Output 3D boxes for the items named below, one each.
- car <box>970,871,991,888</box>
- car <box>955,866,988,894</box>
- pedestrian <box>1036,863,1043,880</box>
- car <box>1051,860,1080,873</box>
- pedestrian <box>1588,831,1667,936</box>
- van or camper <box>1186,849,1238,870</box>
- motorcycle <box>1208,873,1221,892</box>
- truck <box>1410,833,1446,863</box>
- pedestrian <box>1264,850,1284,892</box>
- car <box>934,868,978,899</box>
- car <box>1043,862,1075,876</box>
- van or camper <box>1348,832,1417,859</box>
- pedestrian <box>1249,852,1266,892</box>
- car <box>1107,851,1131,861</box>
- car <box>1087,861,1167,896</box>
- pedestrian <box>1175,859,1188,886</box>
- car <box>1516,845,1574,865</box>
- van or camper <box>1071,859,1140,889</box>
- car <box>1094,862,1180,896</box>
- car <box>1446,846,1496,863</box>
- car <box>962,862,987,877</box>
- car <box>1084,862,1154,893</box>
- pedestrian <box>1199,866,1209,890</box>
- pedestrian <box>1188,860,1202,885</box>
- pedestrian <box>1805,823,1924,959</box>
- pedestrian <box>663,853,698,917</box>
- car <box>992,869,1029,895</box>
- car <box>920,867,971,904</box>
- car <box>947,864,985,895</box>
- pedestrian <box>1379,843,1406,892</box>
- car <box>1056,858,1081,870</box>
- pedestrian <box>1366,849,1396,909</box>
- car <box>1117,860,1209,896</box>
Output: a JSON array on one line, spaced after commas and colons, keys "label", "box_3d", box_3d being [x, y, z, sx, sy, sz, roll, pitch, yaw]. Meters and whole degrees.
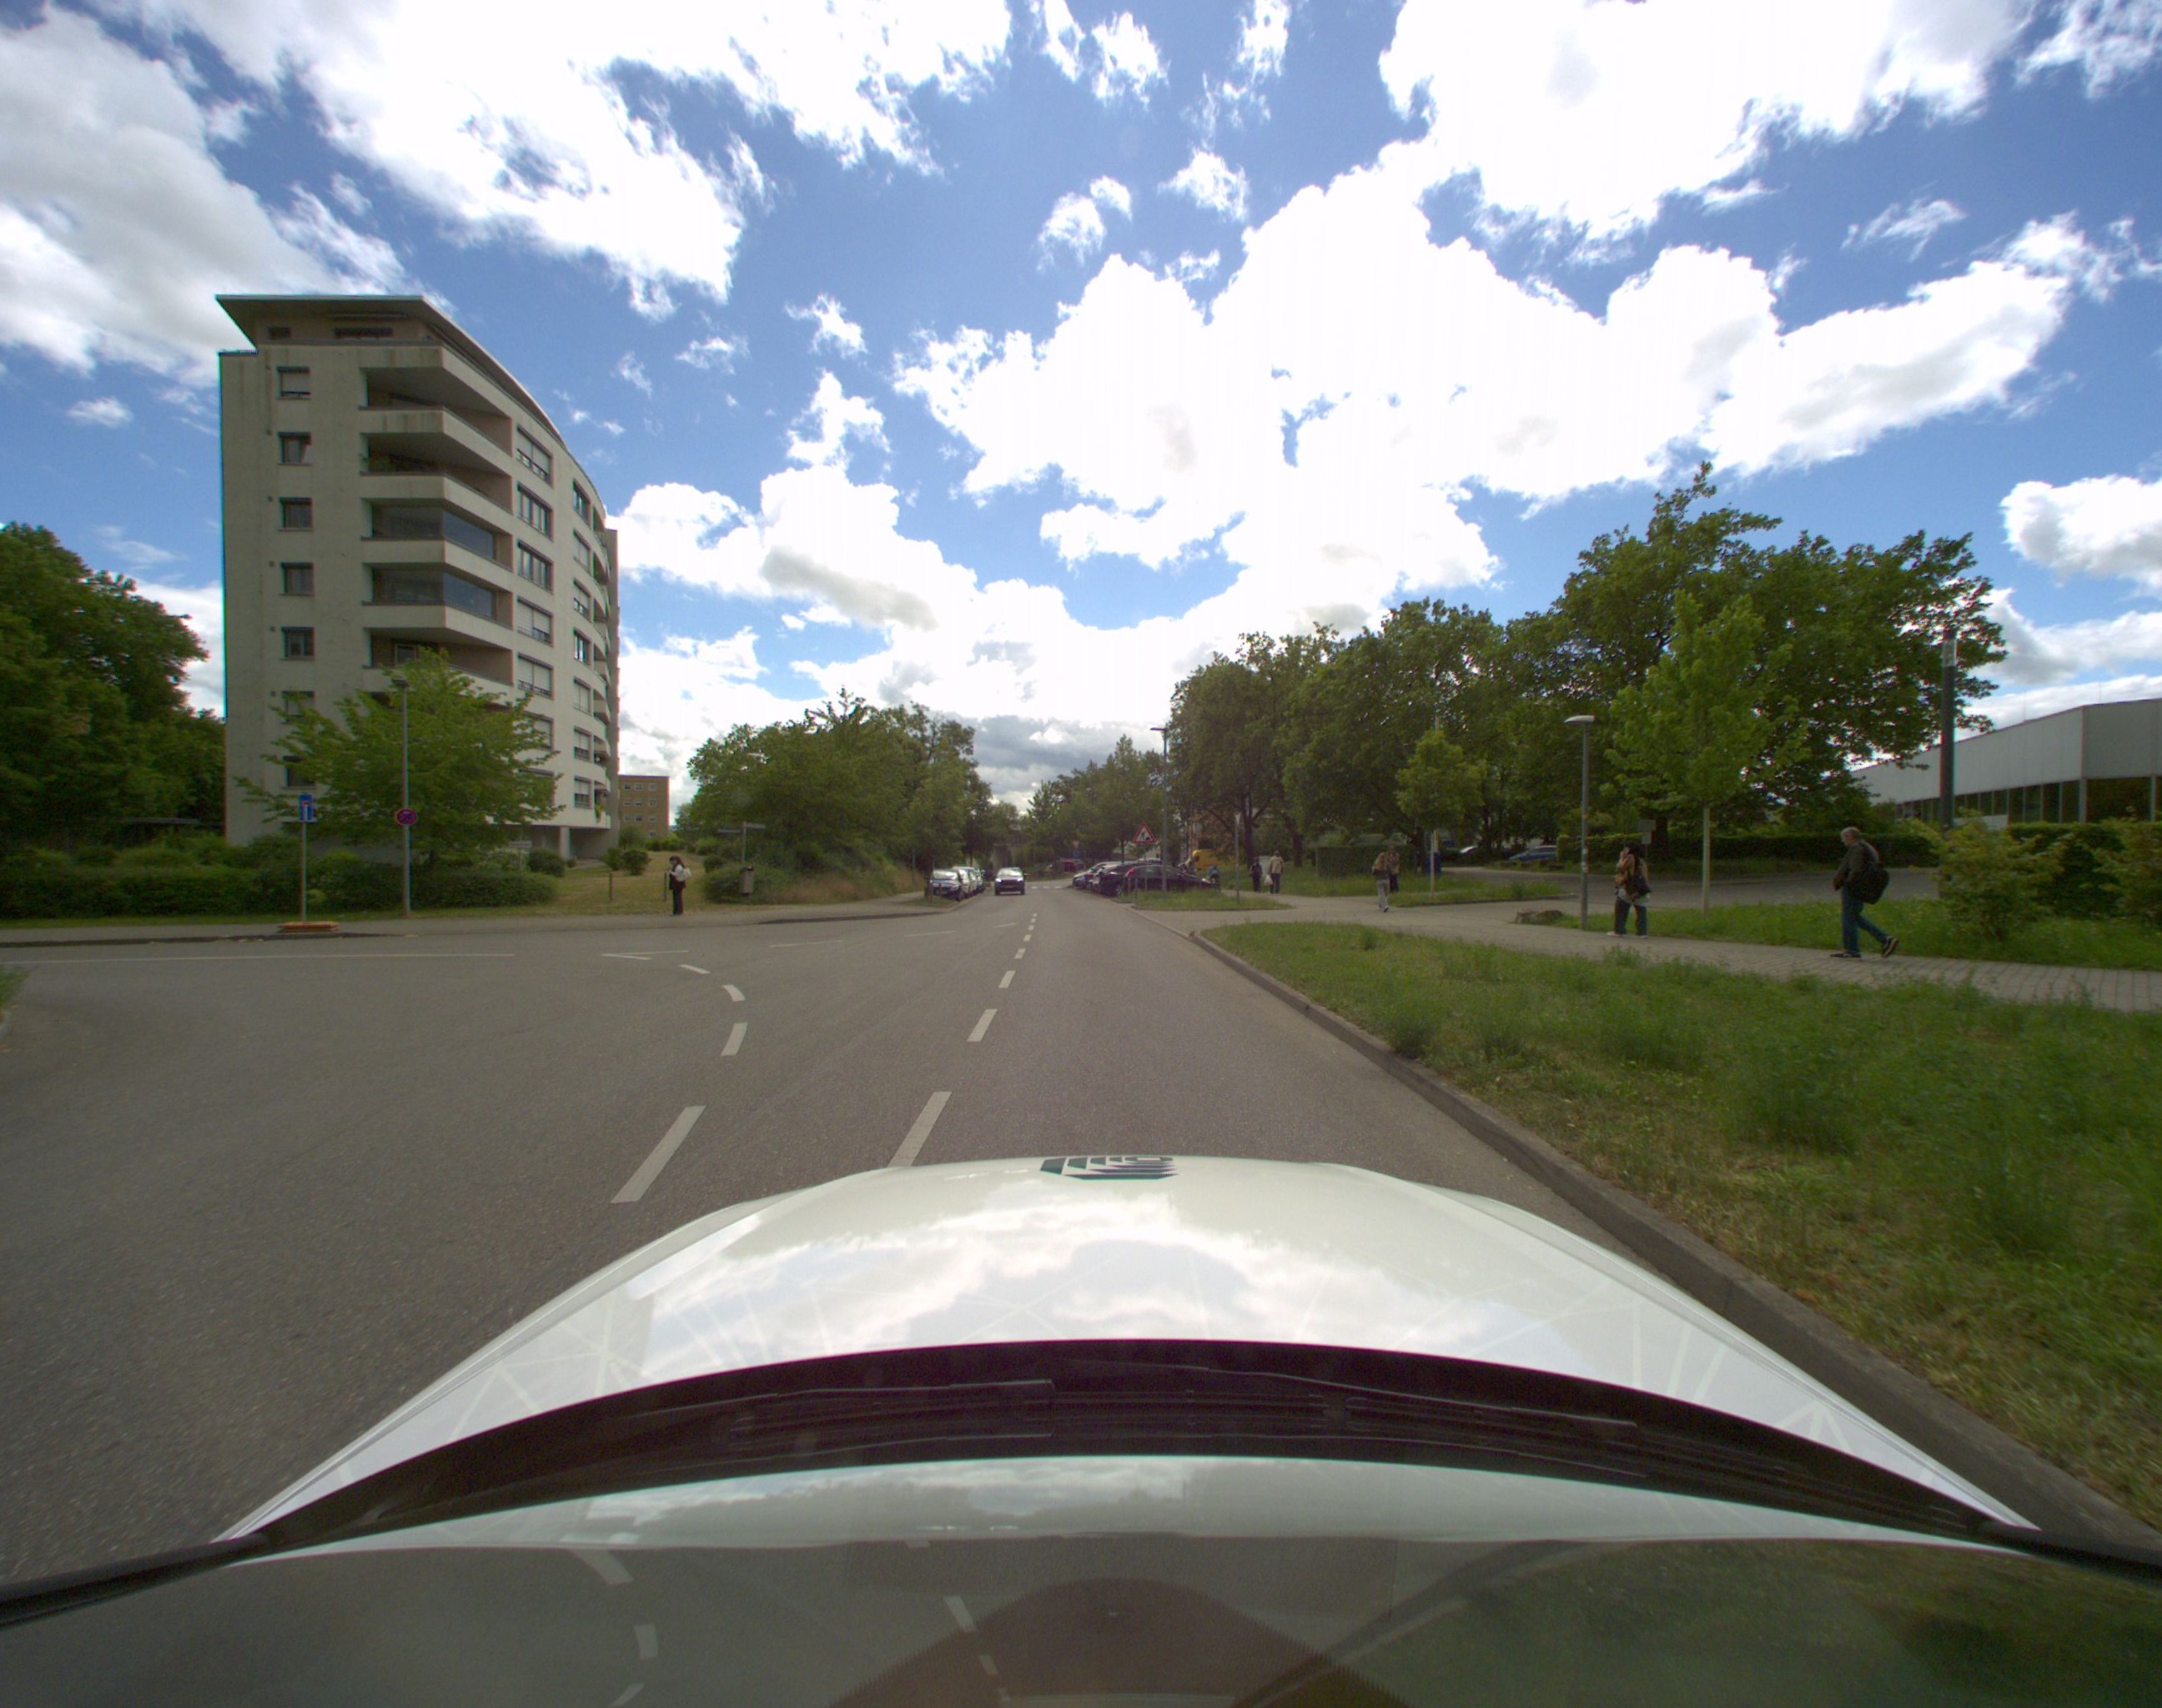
[{"label": "car", "box_3d": [-8.631, 2.204, 69.977, 1.736, 1.326, 3.806, -1, 0, -7]}, {"label": "car", "box_3d": [-7.296, 1.714, 54.551, 1.733, 1.711, 4.079, -1, 0, -2]}, {"label": "pedestrian", "box_3d": [-4.811, 2.040, 93.877, 0.721, 1.864, 0.648, -1, 1, -10]}, {"label": "car", "box_3d": [-1.992, 1.611, 104.251, 3.536, 1.654, 1.618, 0, 0, -6]}, {"label": "pedestrian", "box_3d": [9.373, 0.477, 14.000, 0.776, 1.722, 0.819, -1, 2, -16]}, {"label": "van or camper", "box_3d": [14.163, 0.587, 88.437, 5.280, 2.041, 2.059, -1, 2, -3]}, {"label": "motorcycle", "box_3d": [6.438, 1.376, 39.323, 0.451, 0.794, 1.264, -1, 2, 2]}, {"label": "truck", "box_3d": [28.141, -0.566, 66.204, 2.307, 2.295, 5.925, 1, 2, 20]}, {"label": "pedestrian", "box_3d": [7.999, 0.694, 33.772, 0.795, 1.722, 0.826, 0, 2, 13]}, {"label": "car", "box_3d": [-6.570, 1.515, 43.016, 1.761, 1.500, 3.932, -1, 0, -1]}, {"label": "car", "box_3d": [-2.635, 1.783, 97.068, 3.550, 1.564, 1.611, 0, 0, -18]}, {"label": "van or camper", "box_3d": [22.643, -0.654, 61.266, 4.627, 1.914, 1.783, 0, 2, 31]}, {"label": "pedestrian", "box_3d": [7.933, 0.803, 36.623, 0.769, 1.722, 0.826, 0, 2, 11]}, {"label": "car", "box_3d": [6.231, 0.359, 133.799, 3.550, 1.654, 1.611, 0, 0, -18]}, {"label": "car", "box_3d": [2.296, 1.243, 41.042, 3.907, 1.631, 1.772, -1, -3, 1]}, {"label": "pedestrian", "box_3d": [5.689, 1.053, 46.168, 0.687, 1.504, 0.753, 0, 0, 1]}, {"label": "car", "box_3d": [37.110, 0.086, 65.234, 3.886, 1.500, 1.782, 0, 2, 26]}, {"label": "van or camper", "box_3d": [1.726, 1.402, 57.607, 4.665, 1.869, 1.768, -1, 2, -6]}, {"label": "car", "box_3d": [2.605, 1.195, 38.307, 3.907, 1.501, 1.772, -1, -3, 1]}, {"label": "car", "box_3d": [36.768, 0.067, 76.803, 3.907, 1.500, 1.772, -1, 2, 1]}, {"label": "car", "box_3d": [-10.089, 1.430, 76.888, 1.209, 1.337, 2.576, 0, 0, -39]}, {"label": "car", "box_3d": [2.142, 1.318, 46.136, 3.907, 1.630, 1.772, -1, 2, 1]}, {"label": "pedestrian", "box_3d": [6.006, 1.179, 39.754, 0.394, 1.152, 0.485, 0, 1, 1]}, {"label": "pedestrian", "box_3d": [6.446, 1.039, 46.181, 0.687, 1.424, 0.753, 0, 0, 1]}, {"label": "pedestrian", "box_3d": [10.289, 0.459, 10.725, 0.770, 1.722, 0.825, 0, 1, 6]}, {"label": "pedestrian", "box_3d": [-11.174, 0.844, 22.728, 0.825, 1.722, 0.770, -1, 2, -26]}, {"label": "car", "box_3d": [-4.246, 1.671, 49.751, 1.969, 1.463, 3.932, -1, 0, -1]}, {"label": "car", "box_3d": [-6.250, 1.431, 38.011, 1.761, 1.500, 3.933, -1, 1, -1]}, {"label": "car", "box_3d": [-6.862, 1.531, 48.872, 1.761, 1.753, 3.932, -1, -2, -1]}, {"label": "pedestrian", "box_3d": [11.039, 0.471, 28.852, 0.767, 1.694, 0.828, 1, 2, 32]}, {"label": "car", "box_3d": [-1.774, 1.431, 119.291, 3.524, 1.654, 1.623, 0, 0, 4]}, {"label": "pedestrian", "box_3d": [8.309, 0.670, 22.579, 0.768, 1.596, 0.827, 0, 2, 19]}, {"label": "car", "box_3d": [3.570, 1.070, 36.053, 3.907, 1.468, 1.772, -1, -3, 1]}]
